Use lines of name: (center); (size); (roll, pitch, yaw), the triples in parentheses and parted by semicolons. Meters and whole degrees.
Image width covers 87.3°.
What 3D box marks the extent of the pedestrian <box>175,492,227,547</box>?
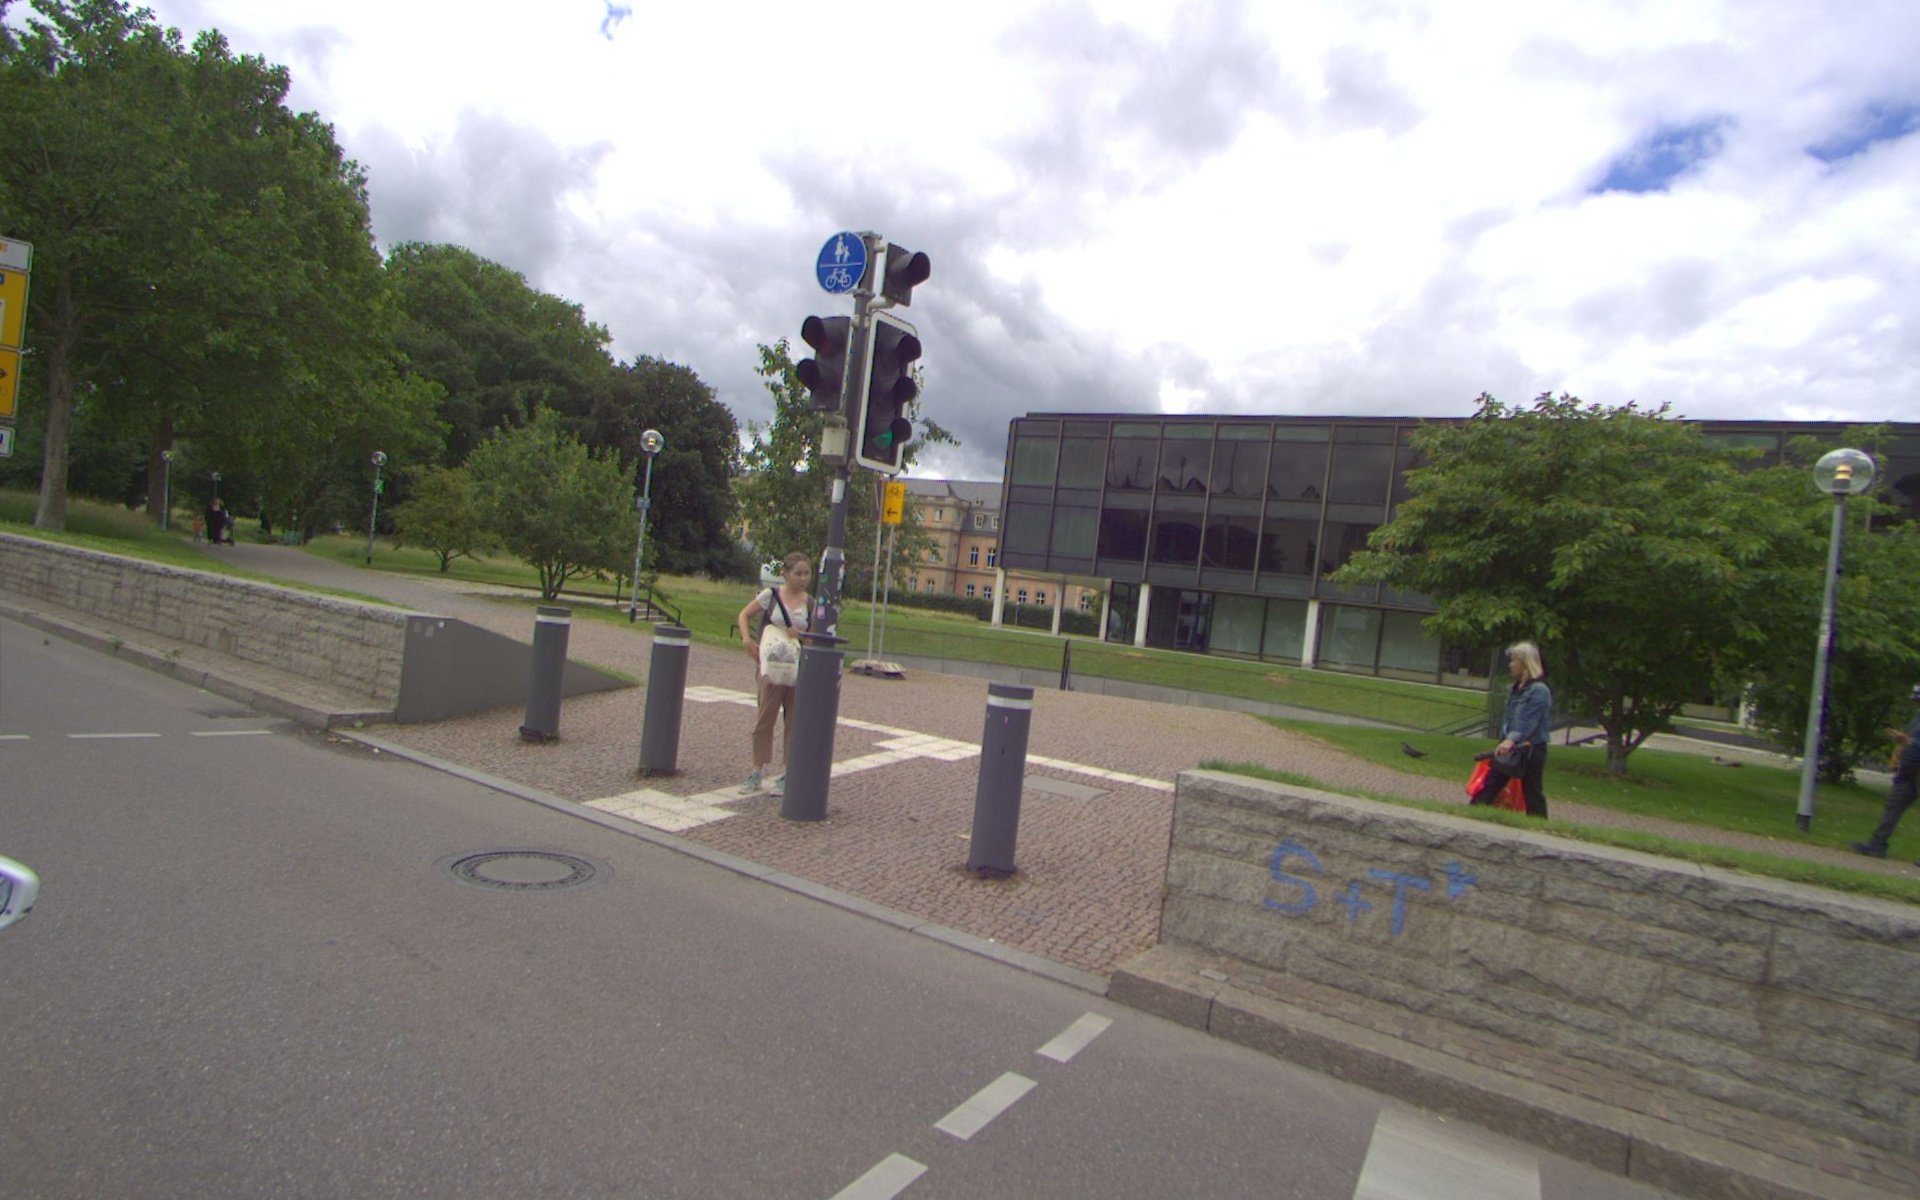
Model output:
pedestrian: (-28.909, -3.061, 38.318); (1.011, 1.857, 1.000); (6, -2, 25)

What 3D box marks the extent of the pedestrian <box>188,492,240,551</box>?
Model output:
pedestrian: (-24.715, -2.591, 33.332); (0.952, 1.752, 0.898); (7, -2, 31)

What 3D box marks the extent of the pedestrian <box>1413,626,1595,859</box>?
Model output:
pedestrian: (4.170, 1.058, 7.728); (0.680, 1.581, 0.897); (6, 1, -42)

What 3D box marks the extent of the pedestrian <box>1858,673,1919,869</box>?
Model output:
pedestrian: (8.537, 1.518, 8.930); (0.617, 1.646, 0.801); (7, 1, 38)

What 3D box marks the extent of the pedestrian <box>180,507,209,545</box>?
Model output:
pedestrian: (-29.107, -2.805, 38.267); (0.533, 1.339, 0.583); (5, -3, 31)

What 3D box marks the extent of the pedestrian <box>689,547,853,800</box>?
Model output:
pedestrian: (-1.349, 0.524, 7.249); (0.672, 1.674, 0.699); (6, -2, 29)

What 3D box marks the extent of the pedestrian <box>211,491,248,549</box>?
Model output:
pedestrian: (-27.330, -2.981, 37.644); (0.917, 2.036, 0.571); (6, -2, 31)
